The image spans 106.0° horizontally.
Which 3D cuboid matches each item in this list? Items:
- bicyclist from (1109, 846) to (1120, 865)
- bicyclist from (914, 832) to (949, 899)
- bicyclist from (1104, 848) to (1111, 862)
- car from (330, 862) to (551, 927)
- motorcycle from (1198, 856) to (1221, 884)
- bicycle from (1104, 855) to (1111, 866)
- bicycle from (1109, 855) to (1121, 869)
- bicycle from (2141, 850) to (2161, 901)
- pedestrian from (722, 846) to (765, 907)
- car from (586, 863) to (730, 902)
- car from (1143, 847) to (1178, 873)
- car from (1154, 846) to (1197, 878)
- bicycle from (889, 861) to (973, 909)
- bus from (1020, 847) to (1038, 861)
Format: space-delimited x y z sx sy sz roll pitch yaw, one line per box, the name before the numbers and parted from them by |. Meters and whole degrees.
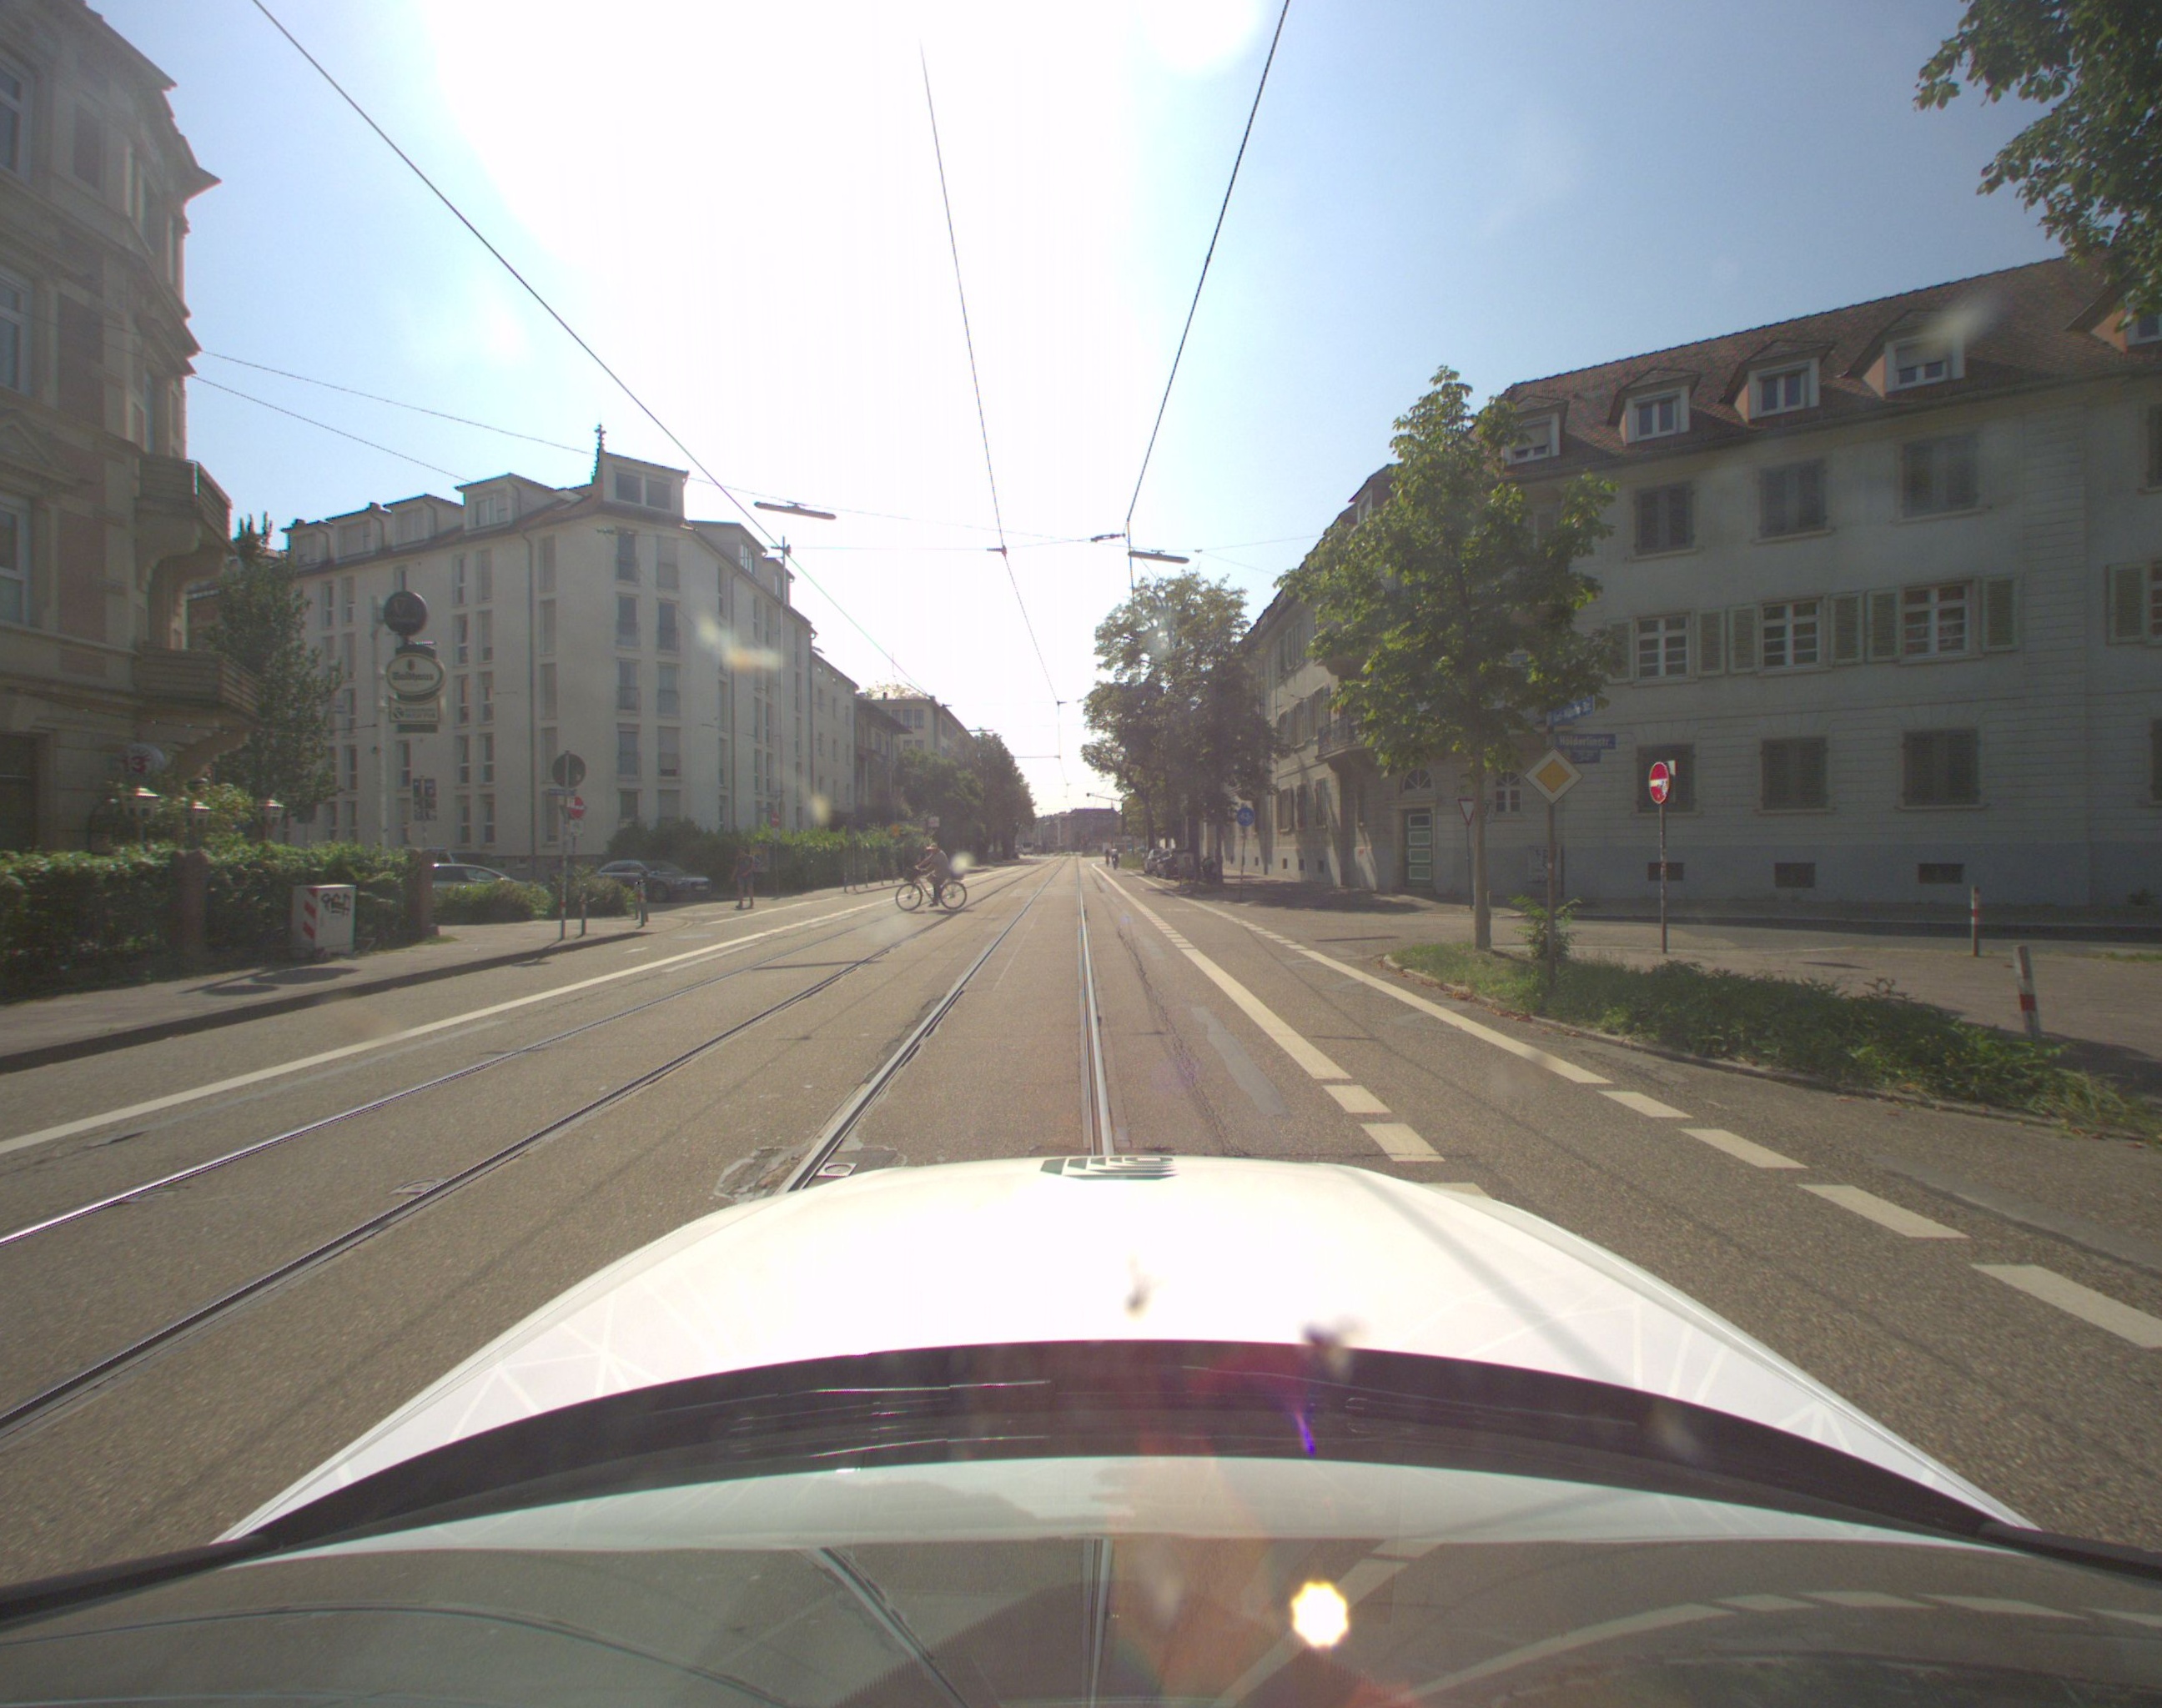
bicyclist | 2.473 0.111 59.761 0.756 1.391 0.779 -1 0 -1
bicyclist | -3.762 0.288 20.587 0.823 1.642 0.783 -1 0 -9
bicyclist | 2.431 0.110 73.907 0.576 1.279 0.471 -1 0 1
car | -15.189 0.907 19.575 1.672 1.343 3.834 -2 0 21
motorcycle | 5.136 0.606 32.666 0.547 1.068 2.330 -1 0 0
bicycle | 2.433 0.582 73.884 0.585 0.939 2.173 -1 0 2
bicycle | 2.475 0.609 59.894 0.756 0.991 2.297 -1 0 -1
bicycle | 23.247 0.455 15.748 3.174 1.029 1.170 1 0 25
pedestrian | -9.928 0.644 23.969 0.777 1.756 1.040 -1 0 0
car | -14.471 0.983 27.888 4.195 1.184 2.010 -2 0 19
car | 4.568 0.358 47.183 1.579 1.464 3.464 -1 -1 -2
car | 4.579 0.389 39.783 1.579 1.464 3.412 -1 -1 -2
bicycle | -3.773 0.768 20.579 2.034 1.151 0.783 -1 0 -9
bus | -12.576 -0.044 198.043 3.724 3.364 15.113 -1 0 -1
